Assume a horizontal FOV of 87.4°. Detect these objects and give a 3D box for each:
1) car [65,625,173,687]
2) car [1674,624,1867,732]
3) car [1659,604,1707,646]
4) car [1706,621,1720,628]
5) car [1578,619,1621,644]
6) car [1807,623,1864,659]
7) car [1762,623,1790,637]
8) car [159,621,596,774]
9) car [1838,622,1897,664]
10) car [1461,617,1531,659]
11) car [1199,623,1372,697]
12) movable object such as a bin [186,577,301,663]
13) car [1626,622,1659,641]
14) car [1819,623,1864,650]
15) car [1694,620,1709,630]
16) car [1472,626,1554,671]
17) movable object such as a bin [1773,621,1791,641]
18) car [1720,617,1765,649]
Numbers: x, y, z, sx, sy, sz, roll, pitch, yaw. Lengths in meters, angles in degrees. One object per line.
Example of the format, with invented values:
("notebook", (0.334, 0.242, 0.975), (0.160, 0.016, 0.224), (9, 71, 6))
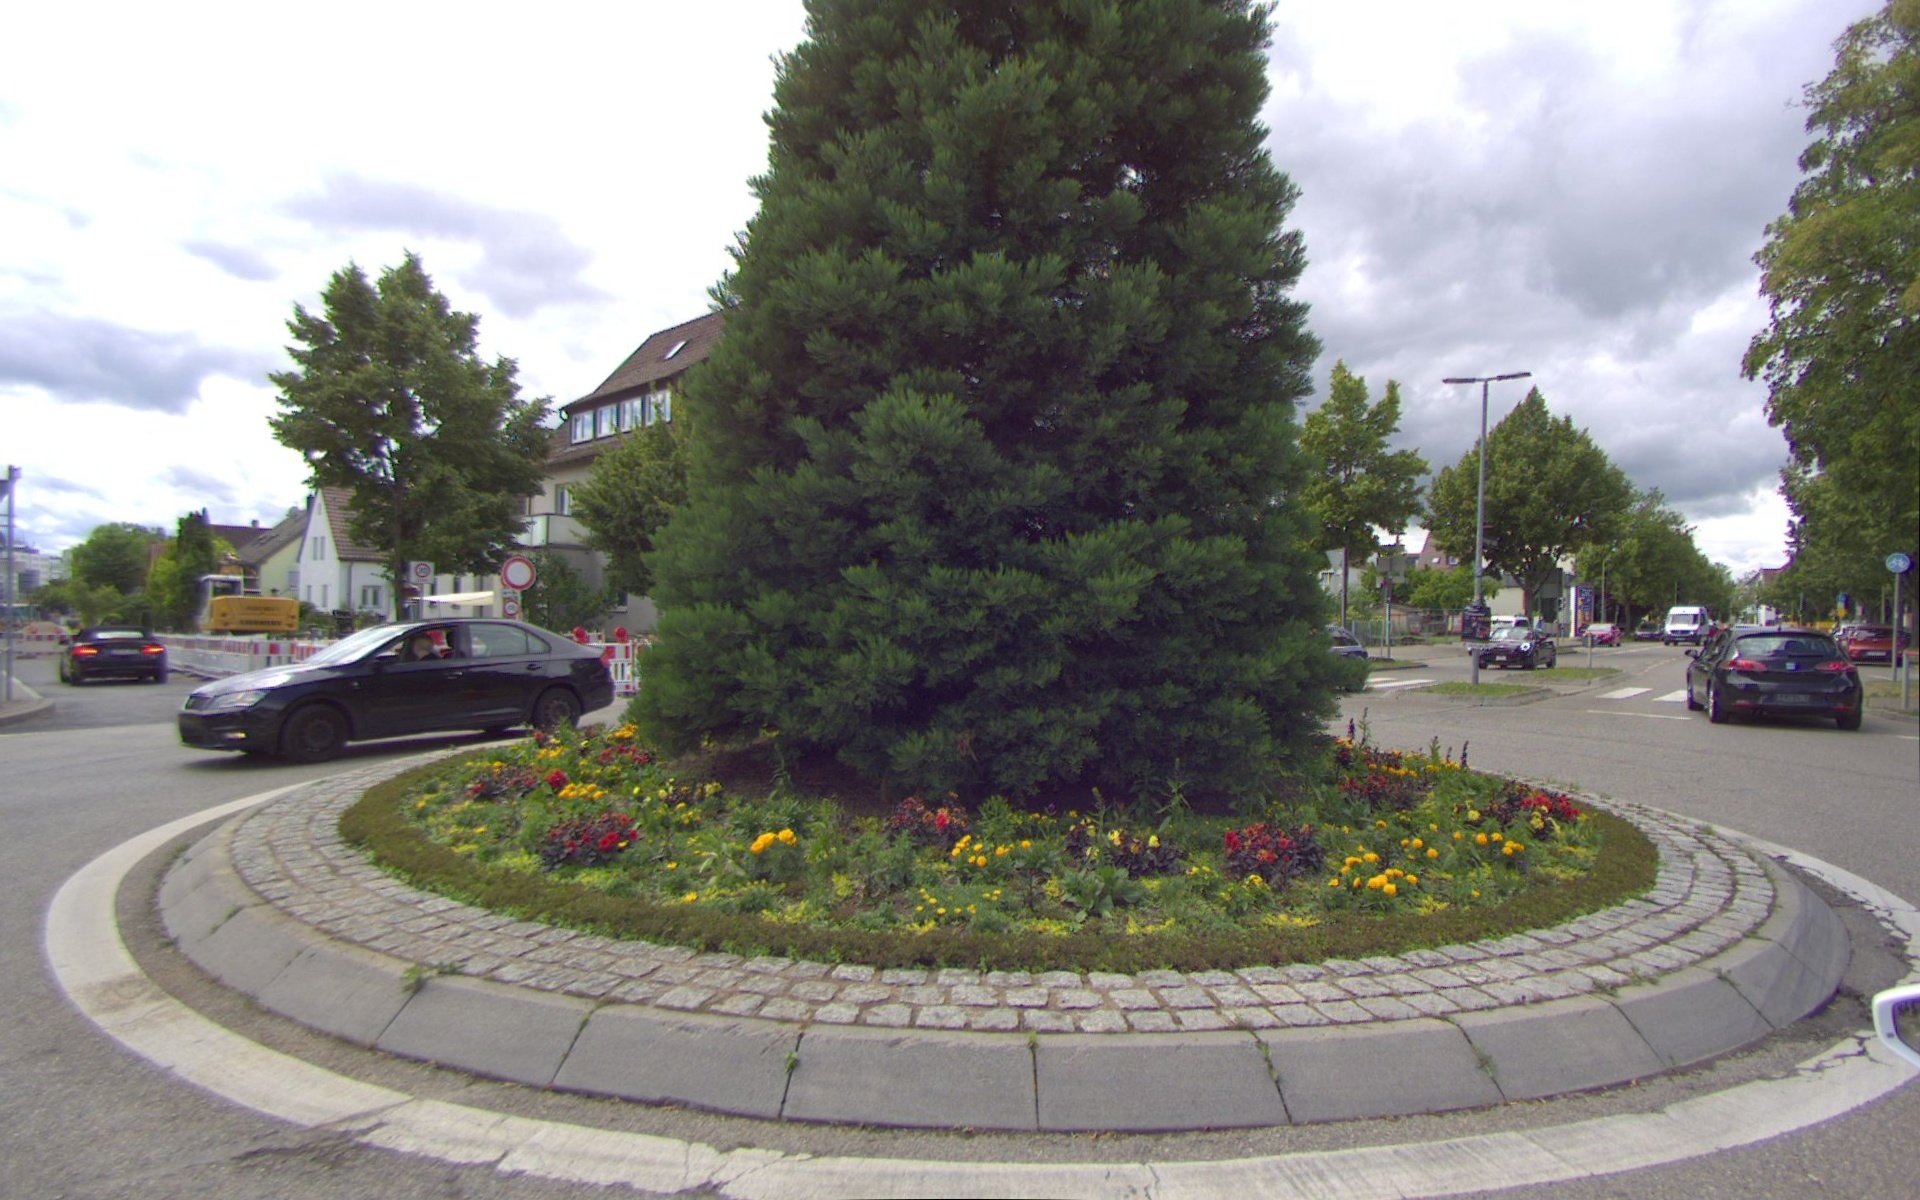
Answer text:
("car", (-20.712, 1.324, 24.699), (3.565, 1.350, 1.690), (0, -1, 44))
("car", (12.486, 1.110, 15.722), (1.793, 1.457, 3.732), (-1, -1, 31))
("car", (49.097, 1.665, 68.143), (1.997, 2.709, 5.773), (0, -1, 42))
("car", (154.549, 5.072, 206.082), (1.783, 1.434, 3.687), (0, -1, 29))
("car", (41.465, 2.033, 65.085), (1.667, 1.561, 4.109), (0, -1, 42))
("car", (36.956, 1.722, 42.470), (1.633, 1.434, 4.158), (-2, -2, 39))
("car", (79.445, 2.898, 97.847), (1.785, 1.393, 3.683), (0, -1, 33))
("car", (-6.280, 0.951, 11.235), (1.517, 1.393, 3.963), (-2, -2, 39))
("car", (34.140, 1.621, 37.843), (1.547, 1.474, 3.651), (0, -2, 40))
("car", (24.408, 1.692, 45.667), (1.751, 1.794, 4.526), (0, -1, 42))
("car", (6.932, 1.233, 21.126), (4.477, 1.390, 1.593), (3, -3, -44))
("movable object such as a bin", (-26.003, 0.709, 36.436), (3.647, 2.954, 2.665), (0, -1, 42))
("car", (55.903, 2.558, 82.244), (1.712, 1.488, 4.278), (-1, -2, 42))
("car", (47.956, 1.974, 54.714), (1.633, 1.434, 4.158), (-2, -2, 39))
("car", (141.598, 4.693, 191.890), (1.943, 1.855, 4.795), (0, -1, 40))
("car", (18.421, 1.574, 33.387), (1.556, 1.380, 3.722), (0, -1, 42))
("movable object such as a bin", (111.442, 4.140, 136.172), (1.746, 2.608, 3.724), (0, -1, 38))
("car", (43.415, 1.815, 55.724), (1.882, 1.708, 3.724), (-1, -2, 38))
